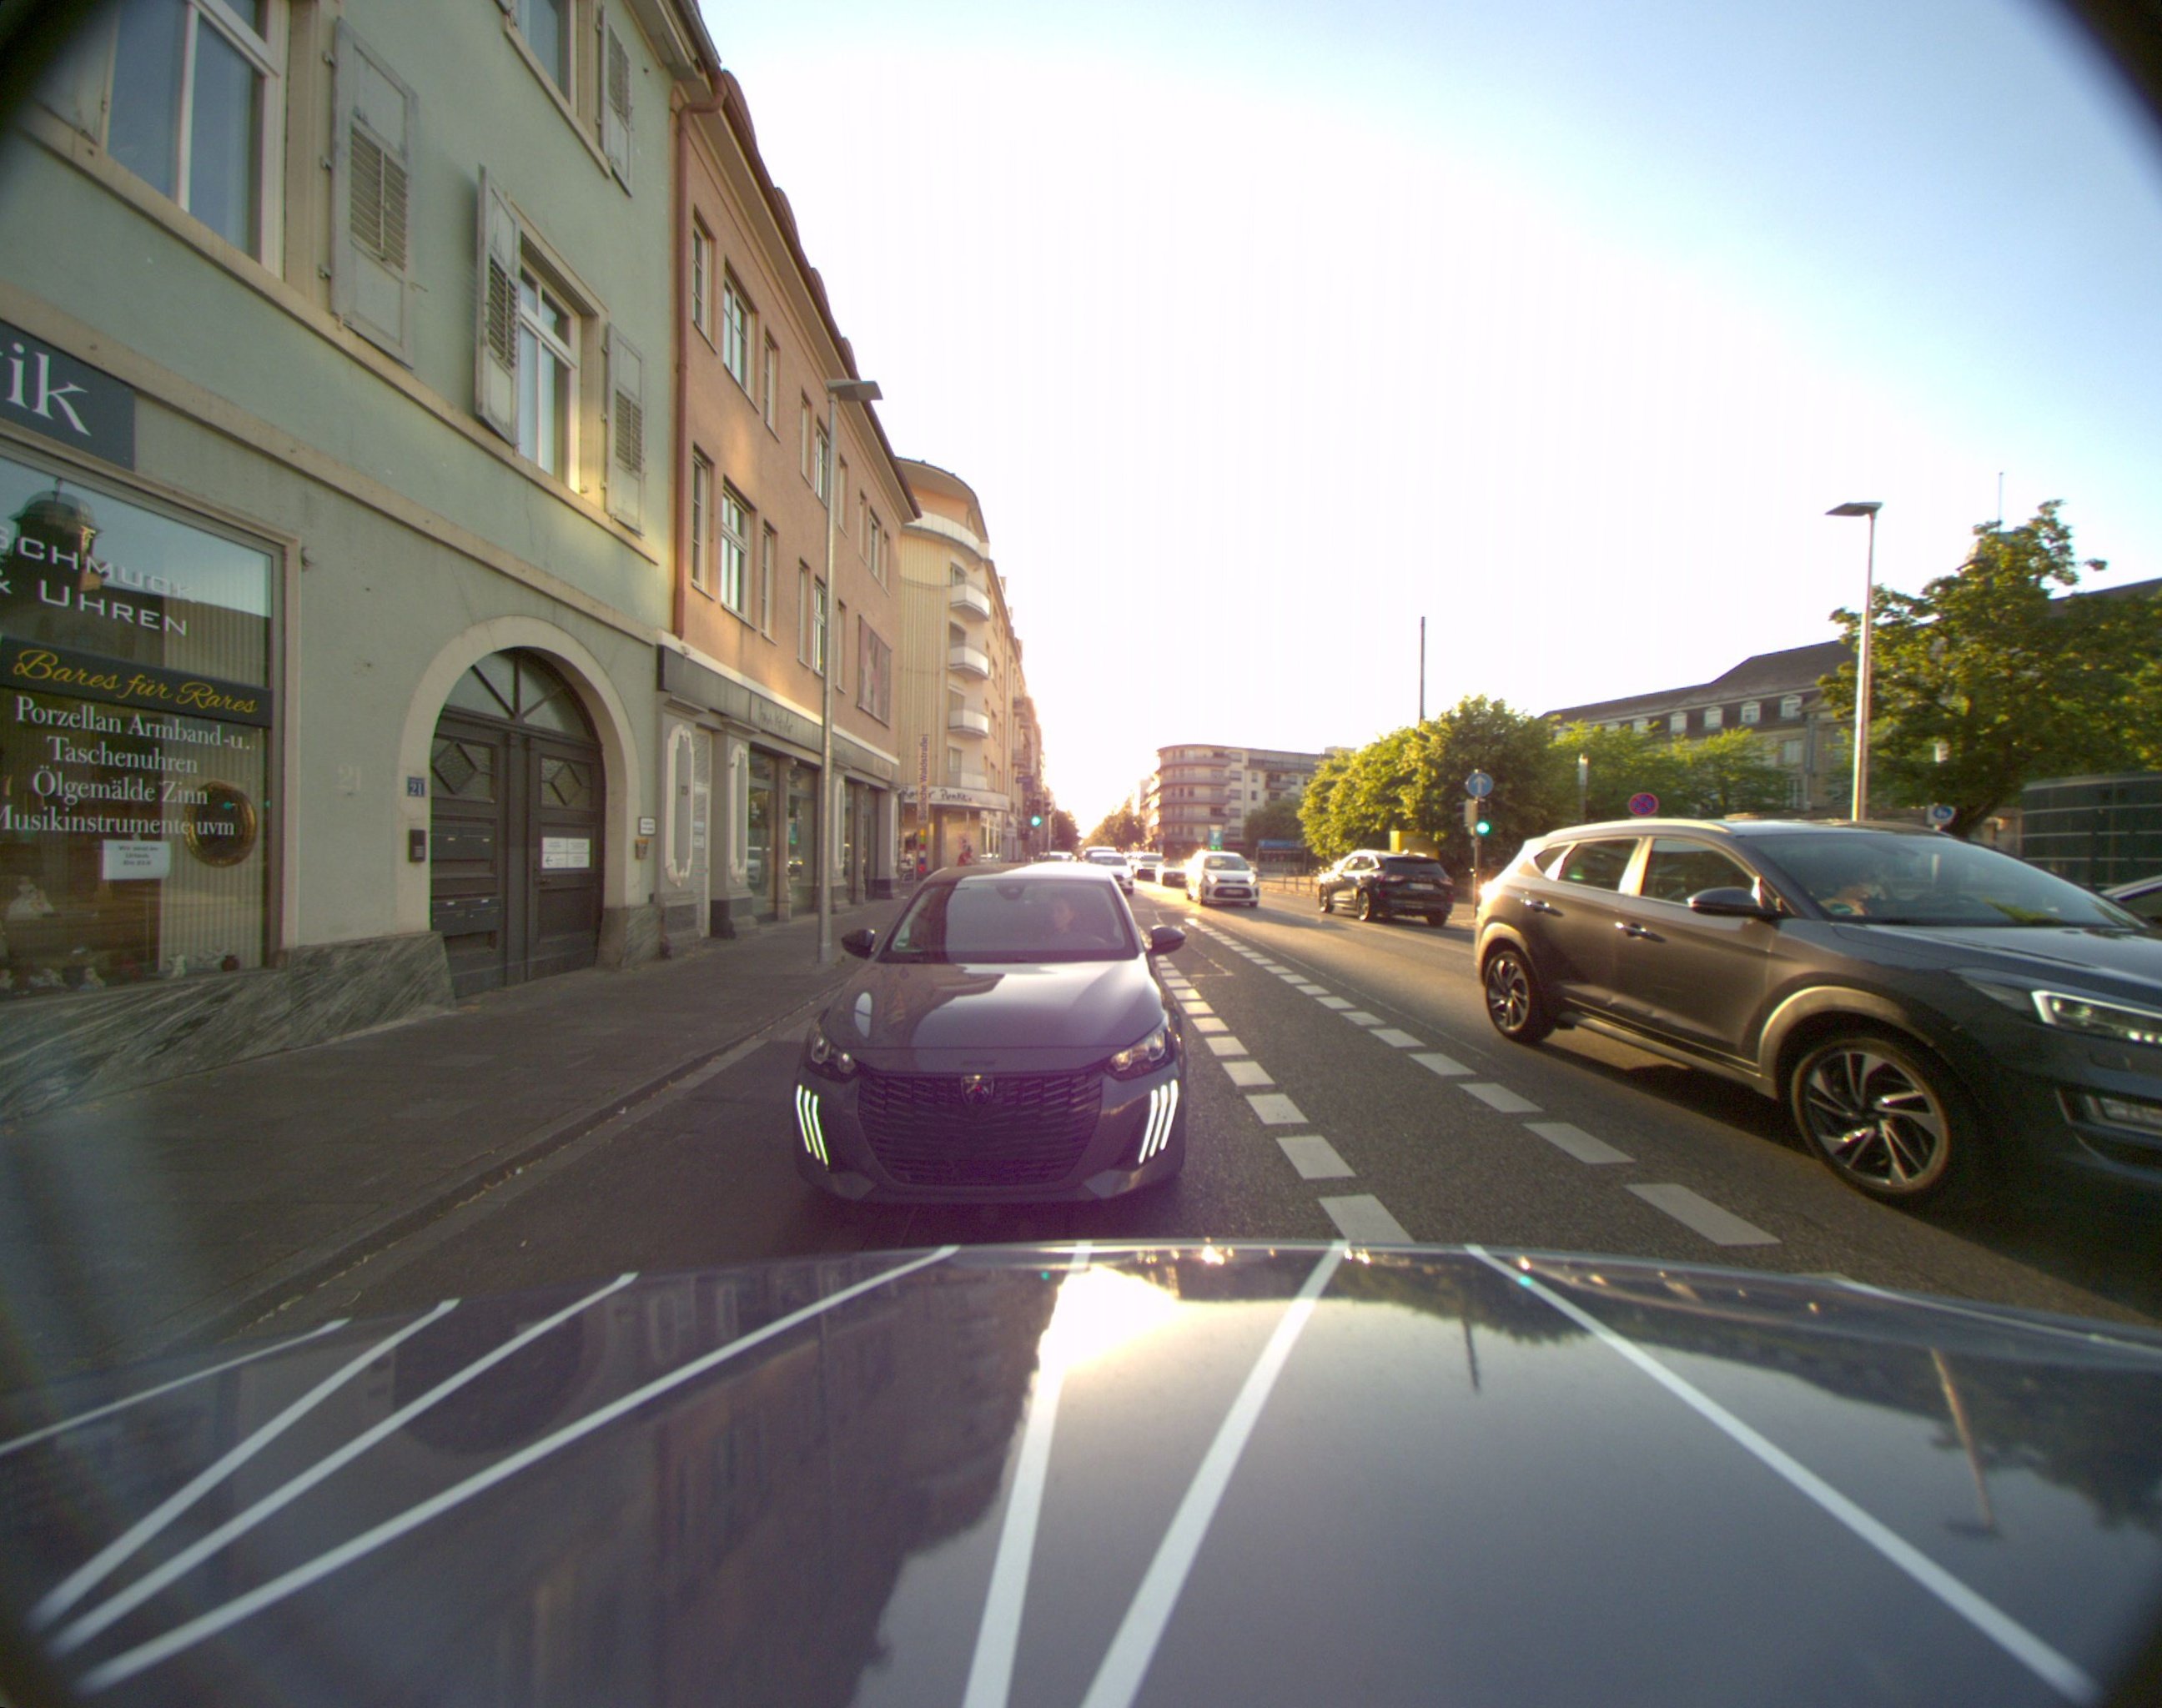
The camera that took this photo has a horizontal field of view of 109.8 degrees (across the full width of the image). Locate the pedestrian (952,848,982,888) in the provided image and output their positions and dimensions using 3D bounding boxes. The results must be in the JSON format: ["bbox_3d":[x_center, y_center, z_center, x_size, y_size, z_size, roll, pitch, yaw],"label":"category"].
[{"bbox_3d":[-3.856,0.470,25.658,0.858,1.343,0.563,1,1,10],"label":"pedestrian"}]

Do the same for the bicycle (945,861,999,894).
[{"bbox_3d":[-3.666,0.789,25.619,1.702,1.051,0.563,1,1,10],"label":"bicycle"}]

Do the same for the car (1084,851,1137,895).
[{"bbox_3d":[1.015,0.647,28.076,1.827,1.463,3.984,0,0,0],"label":"car"}]

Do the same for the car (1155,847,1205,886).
[{"bbox_3d":[4.729,0.555,36.713,1.827,1.731,3.984,2,0,0],"label":"car"}]

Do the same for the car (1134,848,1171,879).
[{"bbox_3d":[4.251,0.529,45.689,1.827,1.731,3.984,2,0,0],"label":"car"}]

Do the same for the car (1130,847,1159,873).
[{"bbox_3d":[4.633,0.424,55.626,1.880,1.761,4.000,1,0,2],"label":"car"}]

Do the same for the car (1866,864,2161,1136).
[{"bbox_3d":[7.385,0.957,4.179,1.827,1.572,3.999,4,1,-1],"label":"car"}]

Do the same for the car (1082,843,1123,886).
[{"bbox_3d":[1.031,0.483,37.720,1.827,1.918,3.984,2,0,0],"label":"car"}]

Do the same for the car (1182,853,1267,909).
[{"bbox_3d":[4.091,0.715,22.262,1.718,1.463,3.984,1,0,0],"label":"car"}]

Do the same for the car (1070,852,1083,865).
[{"bbox_3d":[-0.696,0.644,118.740,1.998,2.002,3.999,1,0,0],"label":"car"}]

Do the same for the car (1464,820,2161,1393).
[{"bbox_3d":[4.114,0.747,4.190,1.827,1.688,4.259,1,0,0],"label":"car"}]

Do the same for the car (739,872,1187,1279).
[{"bbox_3d":[-0.388,0.916,4.958,1.750,1.434,3.906,2,0,3],"label":"car"}]

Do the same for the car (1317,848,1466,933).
[{"bbox_3d":[7.178,0.752,18.043,1.827,1.688,3.984,4,0,0],"label":"car"}]
